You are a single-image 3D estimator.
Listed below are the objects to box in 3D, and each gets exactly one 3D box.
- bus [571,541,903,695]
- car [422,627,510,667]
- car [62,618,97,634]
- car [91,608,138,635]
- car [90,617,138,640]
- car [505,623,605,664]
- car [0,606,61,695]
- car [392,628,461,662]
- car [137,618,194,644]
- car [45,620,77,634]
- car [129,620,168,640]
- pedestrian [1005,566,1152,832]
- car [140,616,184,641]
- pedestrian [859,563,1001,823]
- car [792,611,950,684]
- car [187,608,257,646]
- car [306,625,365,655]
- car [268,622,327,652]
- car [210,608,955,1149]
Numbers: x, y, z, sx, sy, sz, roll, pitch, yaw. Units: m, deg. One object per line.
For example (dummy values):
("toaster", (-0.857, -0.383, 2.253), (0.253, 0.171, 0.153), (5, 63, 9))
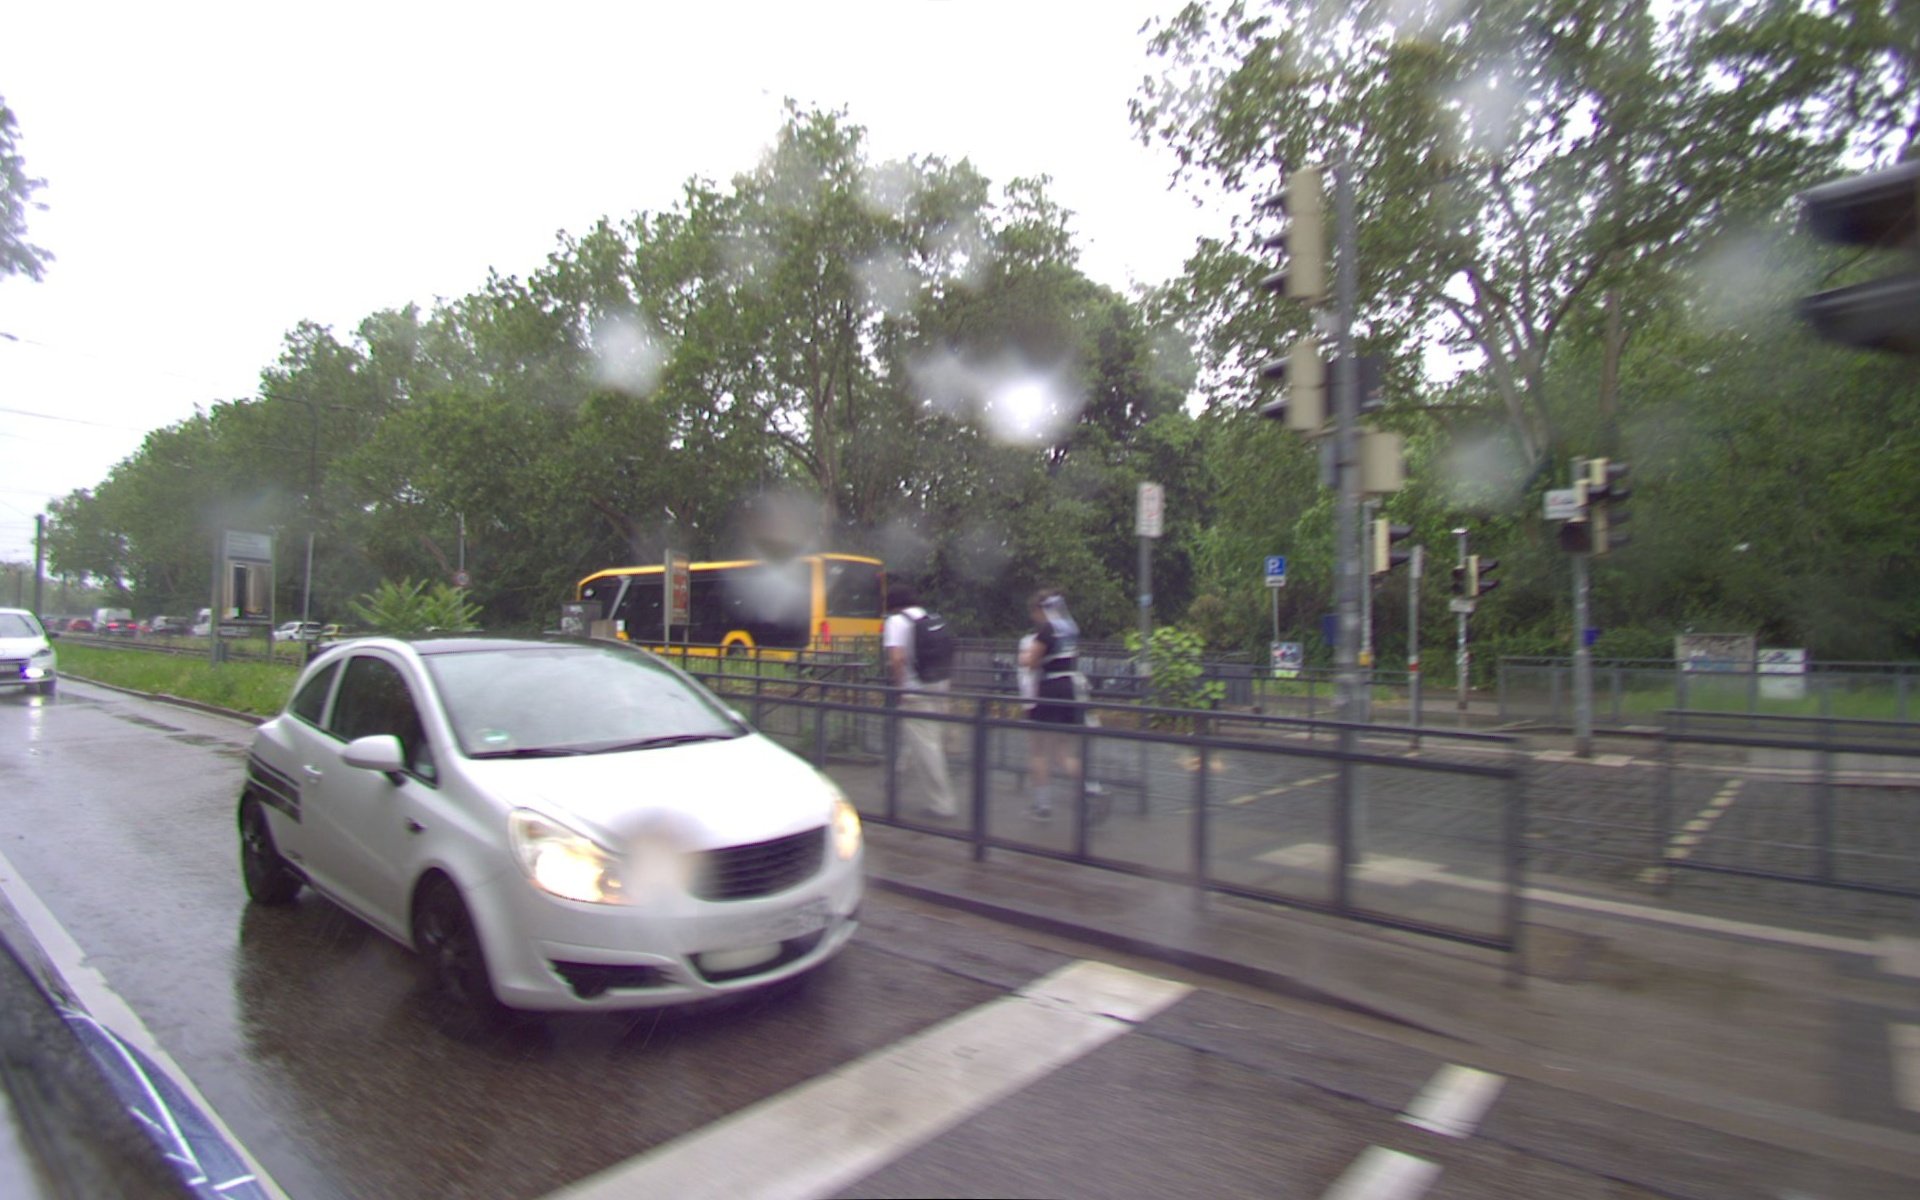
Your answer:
("bus", (-7.195, 0.492, 30.504), (12.236, 3.867, 2.999), (0, 0, 40))
("car", (-24.012, 2.265, 49.157), (4.689, 1.764, 2.011), (0, -3, 39))
("car", (-92.933, 2.684, 106.800), (4.380, 1.564, 2.013), (0, 1, 39))
("car", (-81.034, 2.028, 96.968), (6.135, 2.464, 2.305), (0, -3, 40))
("car", (-65.447, 2.216, 78.296), (4.391, 1.670, 1.994), (0, -3, 39))
("car", (-17.641, 1.886, 44.030), (4.605, 1.670, 2.011), (0, -3, 39))
("car", (-19.153, 0.937, 19.905), (4.263, 1.636, 1.844), (-1, -1, 44))
("car", (-27.449, 2.288, 52.021), (3.809, 1.661, 1.743), (0, -3, 39))
("car", (-53.187, 2.065, 67.749), (4.271, 1.670, 2.012), (0, -3, 38))
("car", (-101.490, 3.037, 114.212), (4.380, 1.564, 2.013), (0, -3, 39))
("car", (-69.263, 2.538, 86.368), (4.022, 1.564, 1.799), (-1, -3, 41))
("pedestrian", (0.842, 0.662, 7.201), (0.807, 1.751, 0.670), (-1, -2, 40))
("car", (-64.776, 2.306, 82.114), (4.638, 1.876, 1.936), (-1, -3, 41))
("pedestrian", (-0.217, 0.635, 7.376), (0.750, 1.758, 0.708), (-1, -2, 40))
("car", (-2.836, 1.452, 31.654), (4.796, 2.109, 2.012), (0, -3, 37))
("car", (-52.842, 1.900, 72.420), (6.559, 2.560, 2.366), (0, -3, 39))
("car", (-36.431, 2.318, 59.024), (3.809, 1.661, 1.743), (0, -3, 39))
("car", (-40.996, 2.260, 62.580), (4.527, 1.741, 1.733), (0, -3, 39))
("car", (-2.005, 0.801, 4.762), (3.804, 1.490, 1.707), (0, -1, 42))
